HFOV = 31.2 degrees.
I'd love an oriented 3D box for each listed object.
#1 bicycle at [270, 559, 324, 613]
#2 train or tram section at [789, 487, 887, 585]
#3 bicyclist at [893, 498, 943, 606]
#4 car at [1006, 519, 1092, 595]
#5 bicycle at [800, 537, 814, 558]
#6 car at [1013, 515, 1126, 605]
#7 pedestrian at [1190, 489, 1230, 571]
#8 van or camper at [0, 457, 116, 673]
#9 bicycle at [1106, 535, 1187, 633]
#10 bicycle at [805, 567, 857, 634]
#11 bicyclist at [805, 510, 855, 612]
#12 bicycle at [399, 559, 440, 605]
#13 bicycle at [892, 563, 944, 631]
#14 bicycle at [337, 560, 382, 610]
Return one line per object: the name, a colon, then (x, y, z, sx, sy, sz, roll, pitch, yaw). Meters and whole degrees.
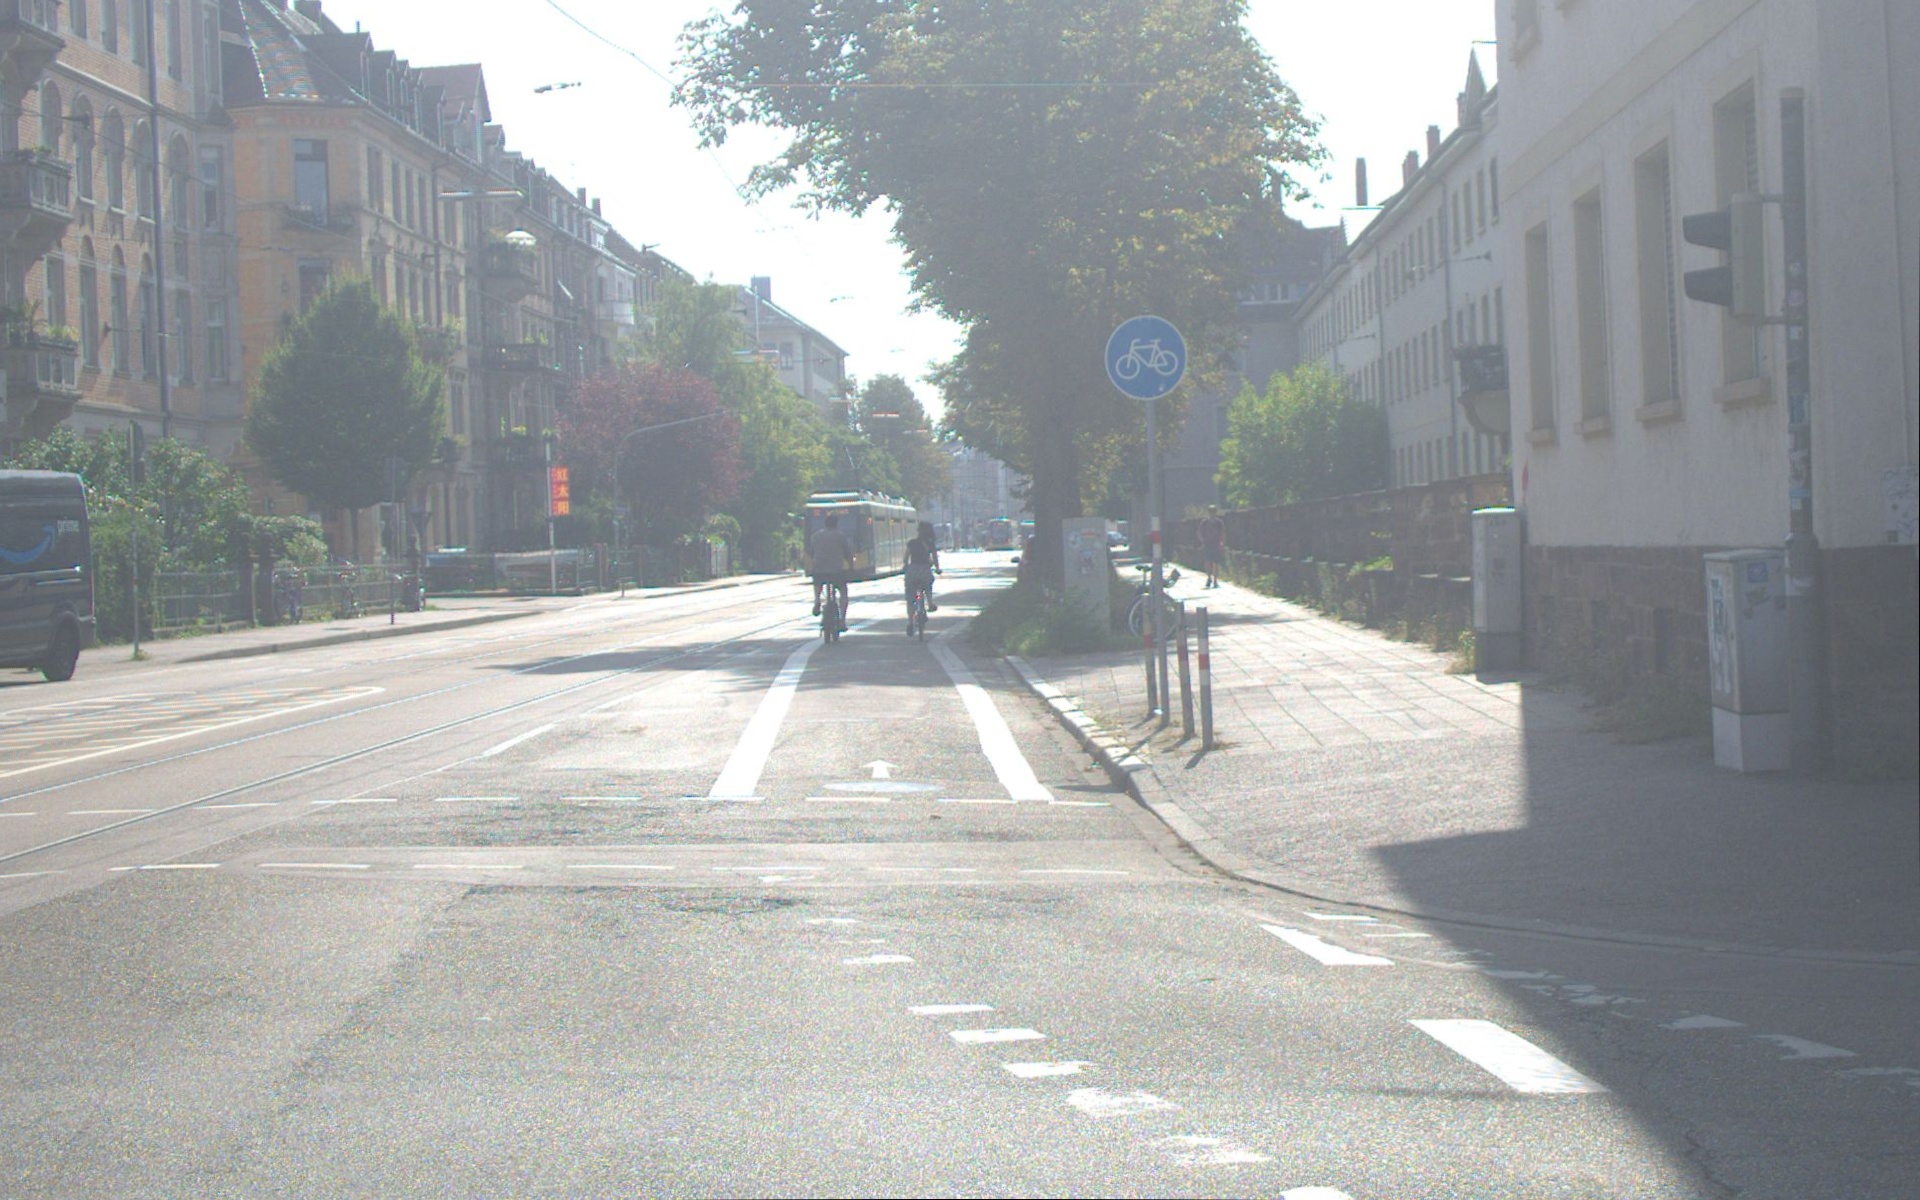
bicycle: (-13.551, -0.287, 70.304, 0.606, 1.054, 1.839, 2, 1, 4)
train or tram section: (-4.637, -2.503, 133.660, 2.734, 3.493, 15.433, -2, 1, 2)
bicyclist: (-0.570, -0.667, 47.373, 0.654, 1.469, 0.909, 0, 1, 1)
car: (1.904, -0.921, 72.600, 1.645, 1.443, 4.246, -4, 1, 2)
bicycle: (-8.870, -3.040, 199.513, 0.561, 1.217, 2.113, -2, 1, 4)
car: (2.090, -0.768, 64.636, 1.646, 1.535, 3.841, -4, 1, 8)
pedestrian: (5.380, -1.510, 73.935, 0.752, 1.743, 0.878, -2, 1, 9)
van or camper: (-12.647, -0.389, 42.379, 2.051, 2.635, 6.088, -3, 1, 9)
bicycle: (2.204, -0.205, 40.879, 0.771, 1.100, 2.333, -2, 1, 0)
bicycle: (-1.786, -0.004, 47.772, 0.626, 0.906, 1.525, 0, 1, 1)
bicyclist: (-1.797, -0.548, 47.679, 0.626, 1.396, 0.929, 0, 1, 1)
bicycle: (-13.085, -0.439, 83.254, 0.545, 1.054, 1.839, 2, 1, 4)
bicycle: (-0.575, -0.056, 47.397, 0.654, 0.906, 1.775, 0, 1, 1)
bicycle: (-13.317, -0.343, 76.233, 0.545, 1.054, 1.839, 2, 1, 4)
